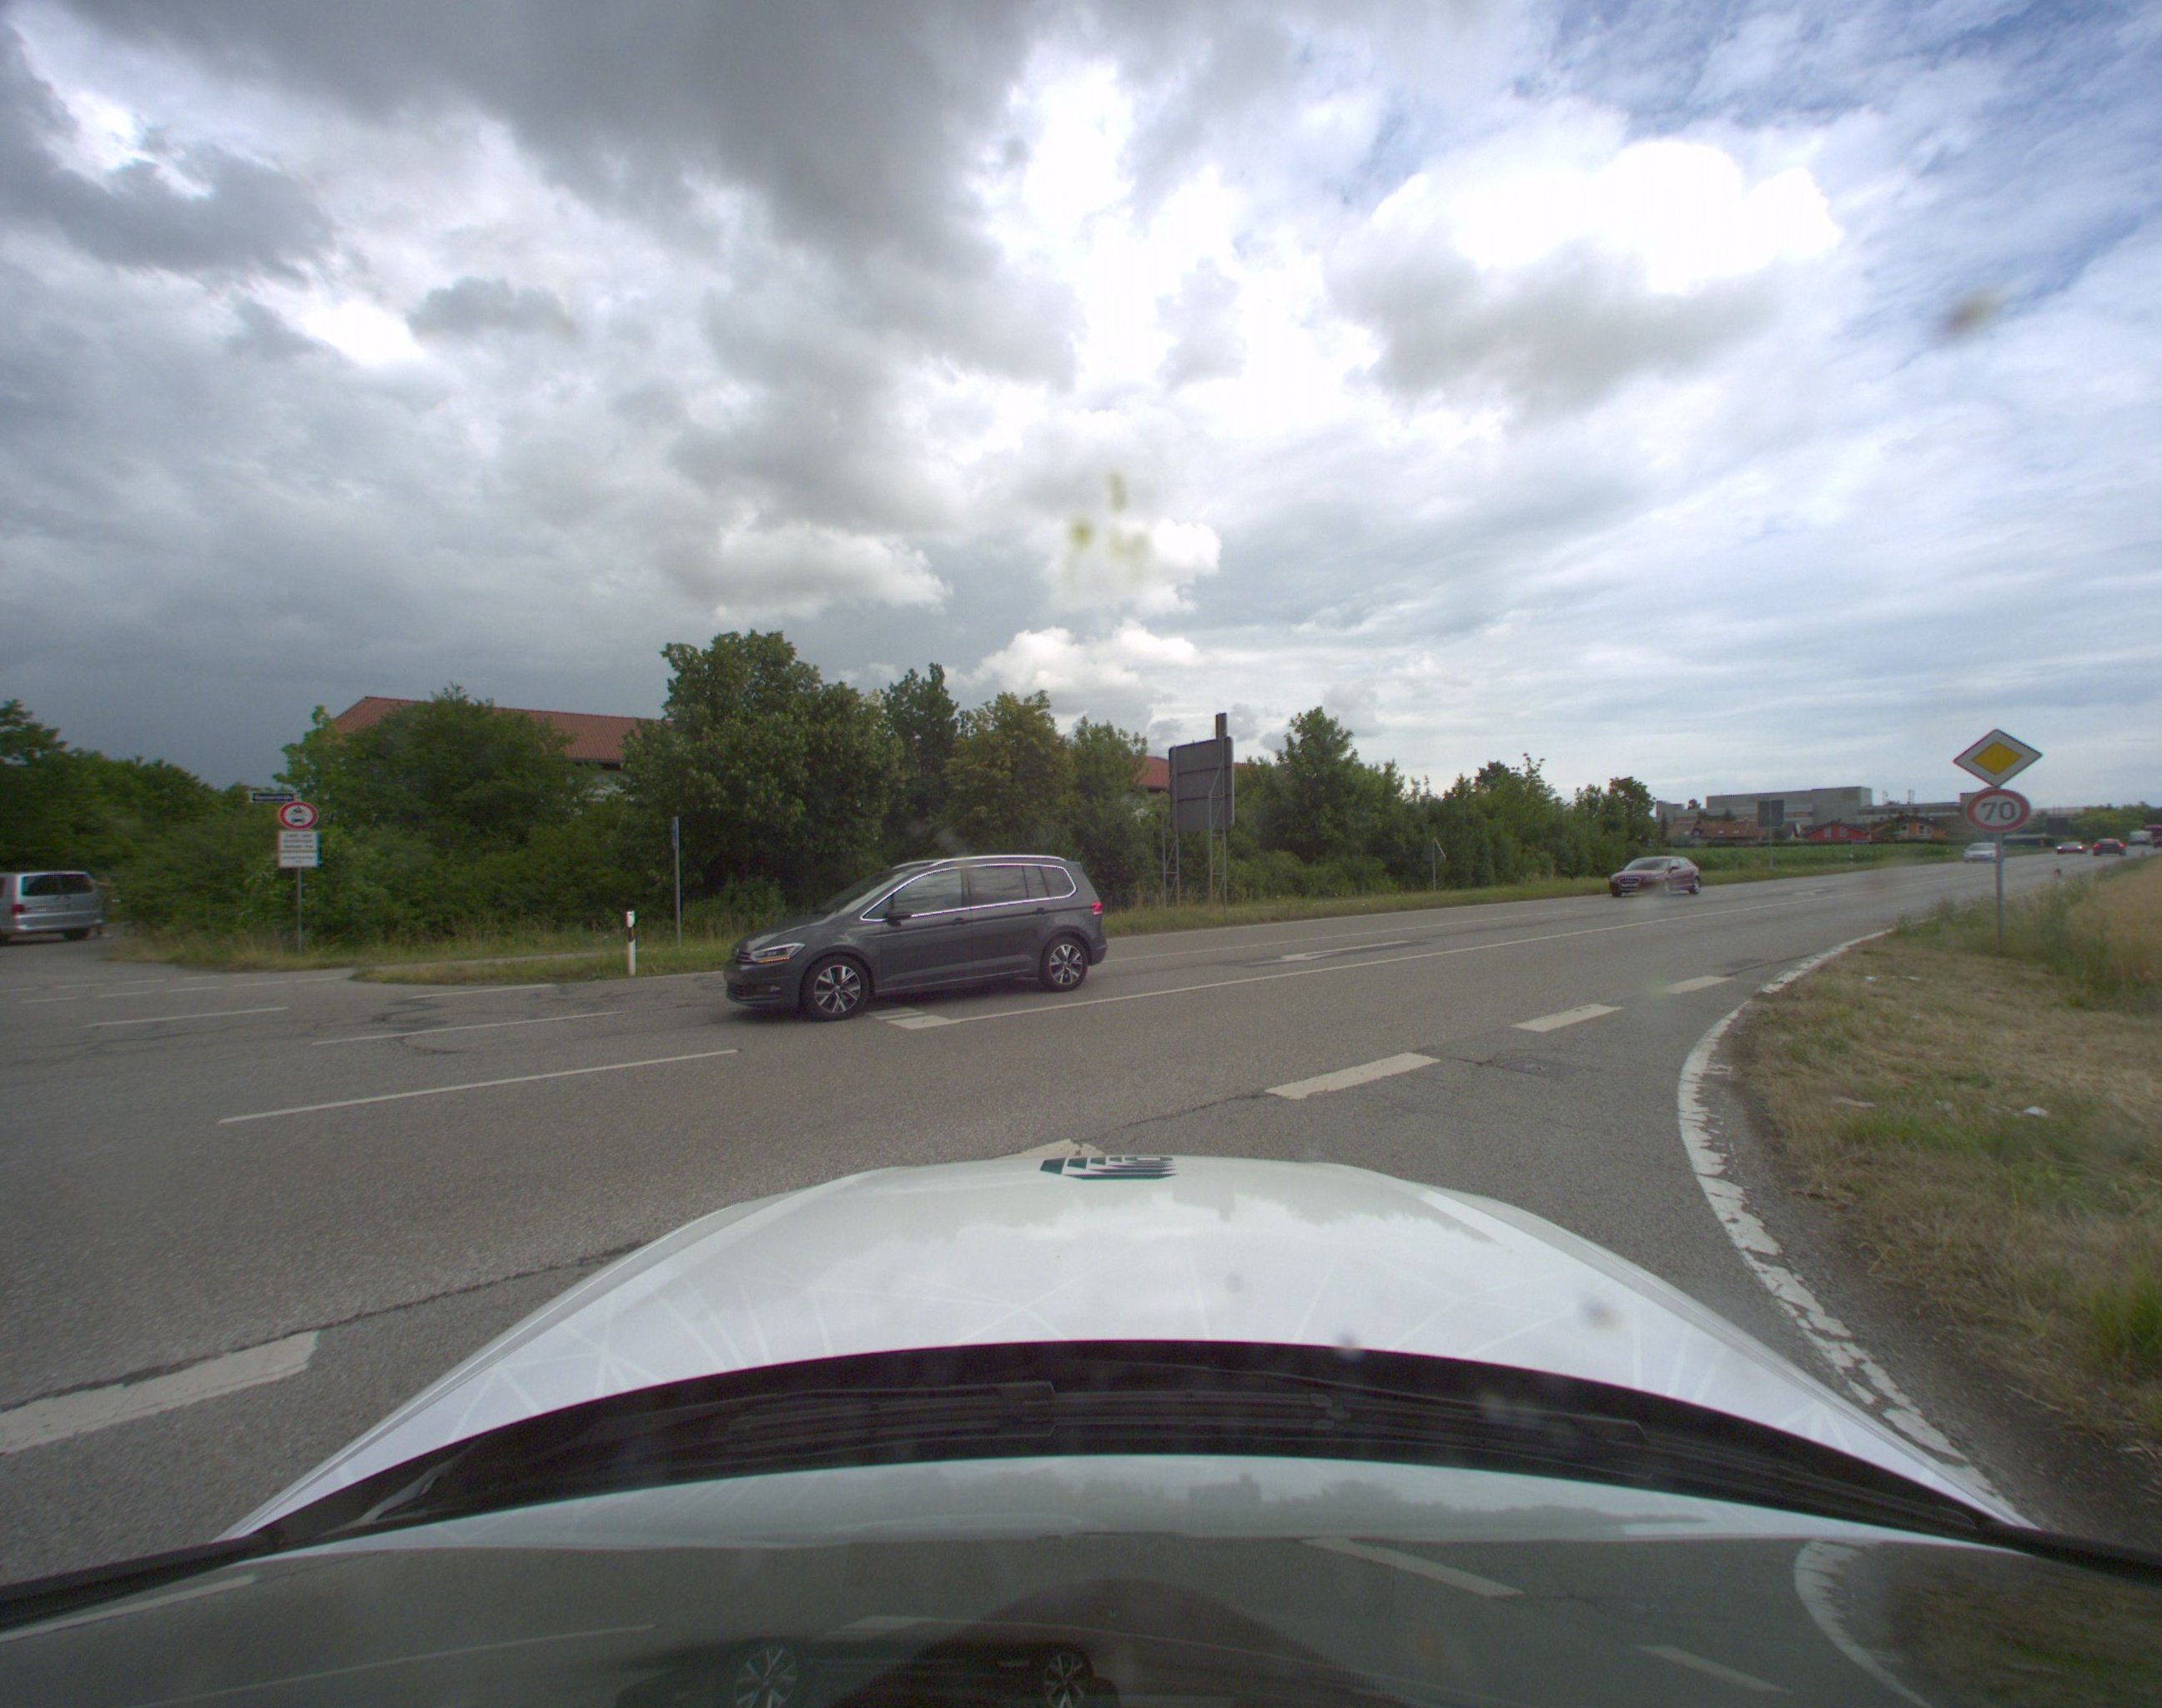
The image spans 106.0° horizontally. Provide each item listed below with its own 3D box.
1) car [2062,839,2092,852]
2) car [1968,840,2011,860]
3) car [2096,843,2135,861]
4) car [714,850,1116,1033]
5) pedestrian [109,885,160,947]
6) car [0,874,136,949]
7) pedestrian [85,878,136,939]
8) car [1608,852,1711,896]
[{"bbox_3d":[106.142,-0.917,86.776,4.230,1.241,1.757,-1,-1,-36],"label":"car"},{"bbox_3d":[69.439,-0.296,62.225,3.951,1.432,1.716,-1,-2,-35],"label":"car"},{"bbox_3d":[95.618,-0.157,75.256,4.014,1.566,1.845,-1,0,-32],"label":"car"},{"bbox_3d":[-1.836,0.848,9.639,4.309,1.658,1.734,-1,-1,-35],"label":"car"},{"bbox_3d":[-27.408,1.783,23.585,0.728,1.723,0.784,-1,0,-31],"label":"pedestrian"},{"bbox_3d":[-30.276,1.627,22.992,5.058,1.886,2.117,-2,1,6],"label":"car"},{"bbox_3d":[-28.476,1.591,23.914,0.705,1.723,0.726,-1,0,-27],"label":"pedestrian"},{"bbox_3d":[20.870,0.703,29.342,4.106,1.402,1.660,-2,-1,-34],"label":"car"}]
